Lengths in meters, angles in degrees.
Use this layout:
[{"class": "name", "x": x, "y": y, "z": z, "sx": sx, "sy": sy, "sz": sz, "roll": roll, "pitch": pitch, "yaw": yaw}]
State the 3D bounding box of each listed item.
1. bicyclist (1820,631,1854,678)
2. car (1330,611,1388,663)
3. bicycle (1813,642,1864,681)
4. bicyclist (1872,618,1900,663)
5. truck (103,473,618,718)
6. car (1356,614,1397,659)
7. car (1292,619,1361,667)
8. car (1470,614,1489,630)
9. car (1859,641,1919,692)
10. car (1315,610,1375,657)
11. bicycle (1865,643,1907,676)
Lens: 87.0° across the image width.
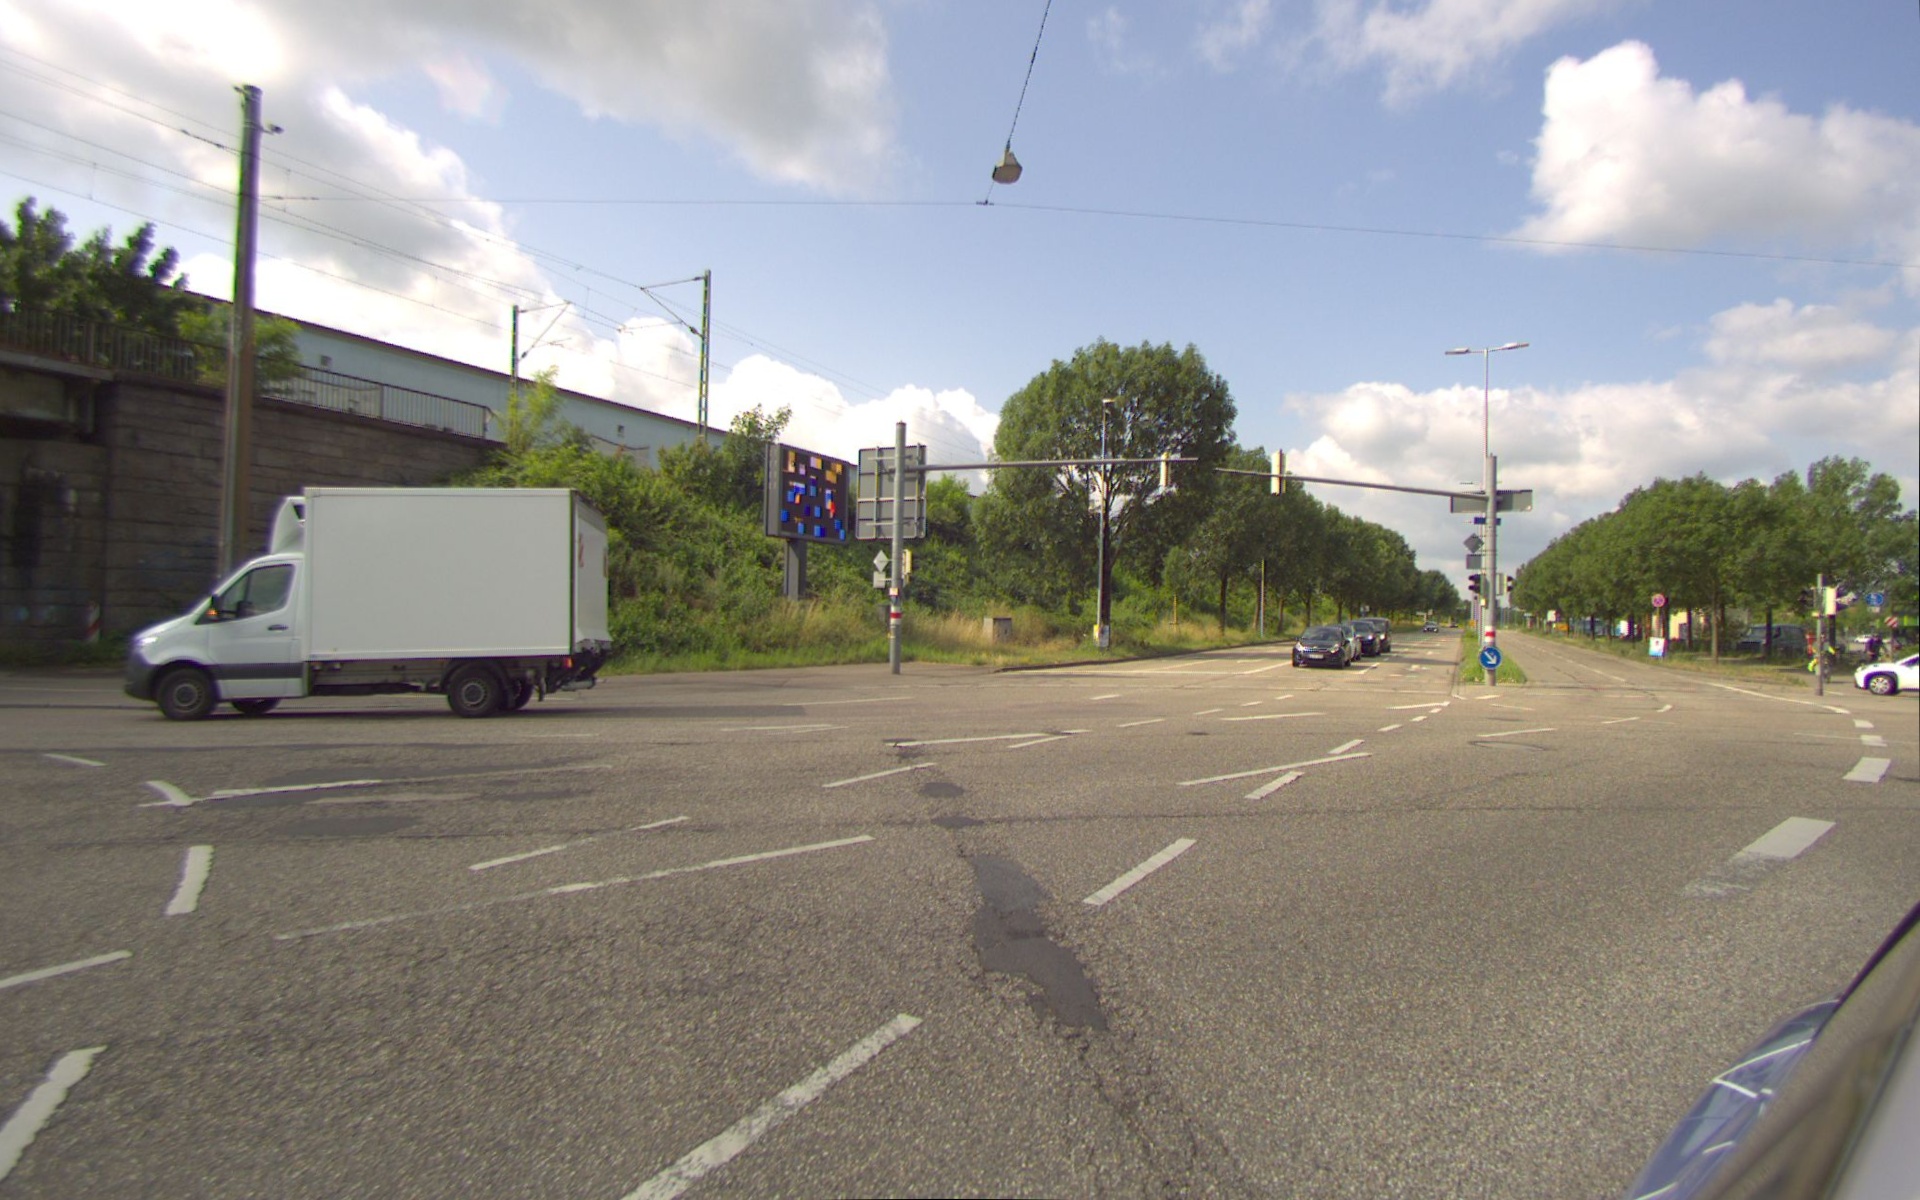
[{"class": "bicyclist", "x": 33.363, "y": 2.074, "z": 38.497, "sx": 0.669, "sy": 1.700, "sz": 0.832, "roll": -3, "pitch": 1, "yaw": 20}, {"class": "car", "x": 18.949, "y": 1.694, "z": 47.925, "sx": 1.806, "sy": 1.661, "sz": 4.758, "roll": 3, "pitch": 8, "yaw": 30}, {"class": "bicycle", "x": 33.266, "y": 2.313, "z": 38.367, "sx": 0.669, "sy": 1.211, "sz": 2.219, "roll": -3, "pitch": 2, "yaw": 20}, {"class": "bicyclist", "x": 36.039, "y": 1.581, "z": 39.383, "sx": 0.672, "sy": 1.707, "sz": 0.746, "roll": 1, "pitch": -1, "yaw": 32}, {"class": "truck", "x": -8.289, "y": 0.016, "z": 14.765, "sx": 5.903, "sy": 3.162, "sz": 2.458, "roll": 1, "pitch": -3, "yaw": -10}, {"class": "car", "x": 22.158, "y": 1.907, "z": 53.823, "sx": 1.627, "sy": 1.652, "sz": 4.172, "roll": 3, "pitch": 8, "yaw": 27}, {"class": "car", "x": 13.140, "y": 1.488, "z": 36.197, "sx": 1.727, "sy": 1.538, "sz": 3.789, "roll": 2, "pitch": 0, "yaw": 29}, {"class": "car", "x": 56.189, "y": 2.393, "z": 109.509, "sx": 1.765, "sy": 1.526, "sz": 3.963, "roll": 2, "pitch": 2, "yaw": 27}, {"class": "car", "x": 30.493, "y": 2.101, "z": 31.296, "sx": 1.718, "sy": 1.498, "sz": 3.795, "roll": 2, "pitch": -1, "yaw": -39}, {"class": "car", "x": 16.134, "y": 1.434, "z": 42.294, "sx": 1.957, "sy": 1.771, "sz": 3.987, "roll": 3, "pitch": -2, "yaw": 26}, {"class": "bicycle", "x": 36.052, "y": 2.300, "z": 39.429, "sx": 0.786, "sy": 1.211, "sz": 2.207, "roll": 1, "pitch": -1, "yaw": 32}]
